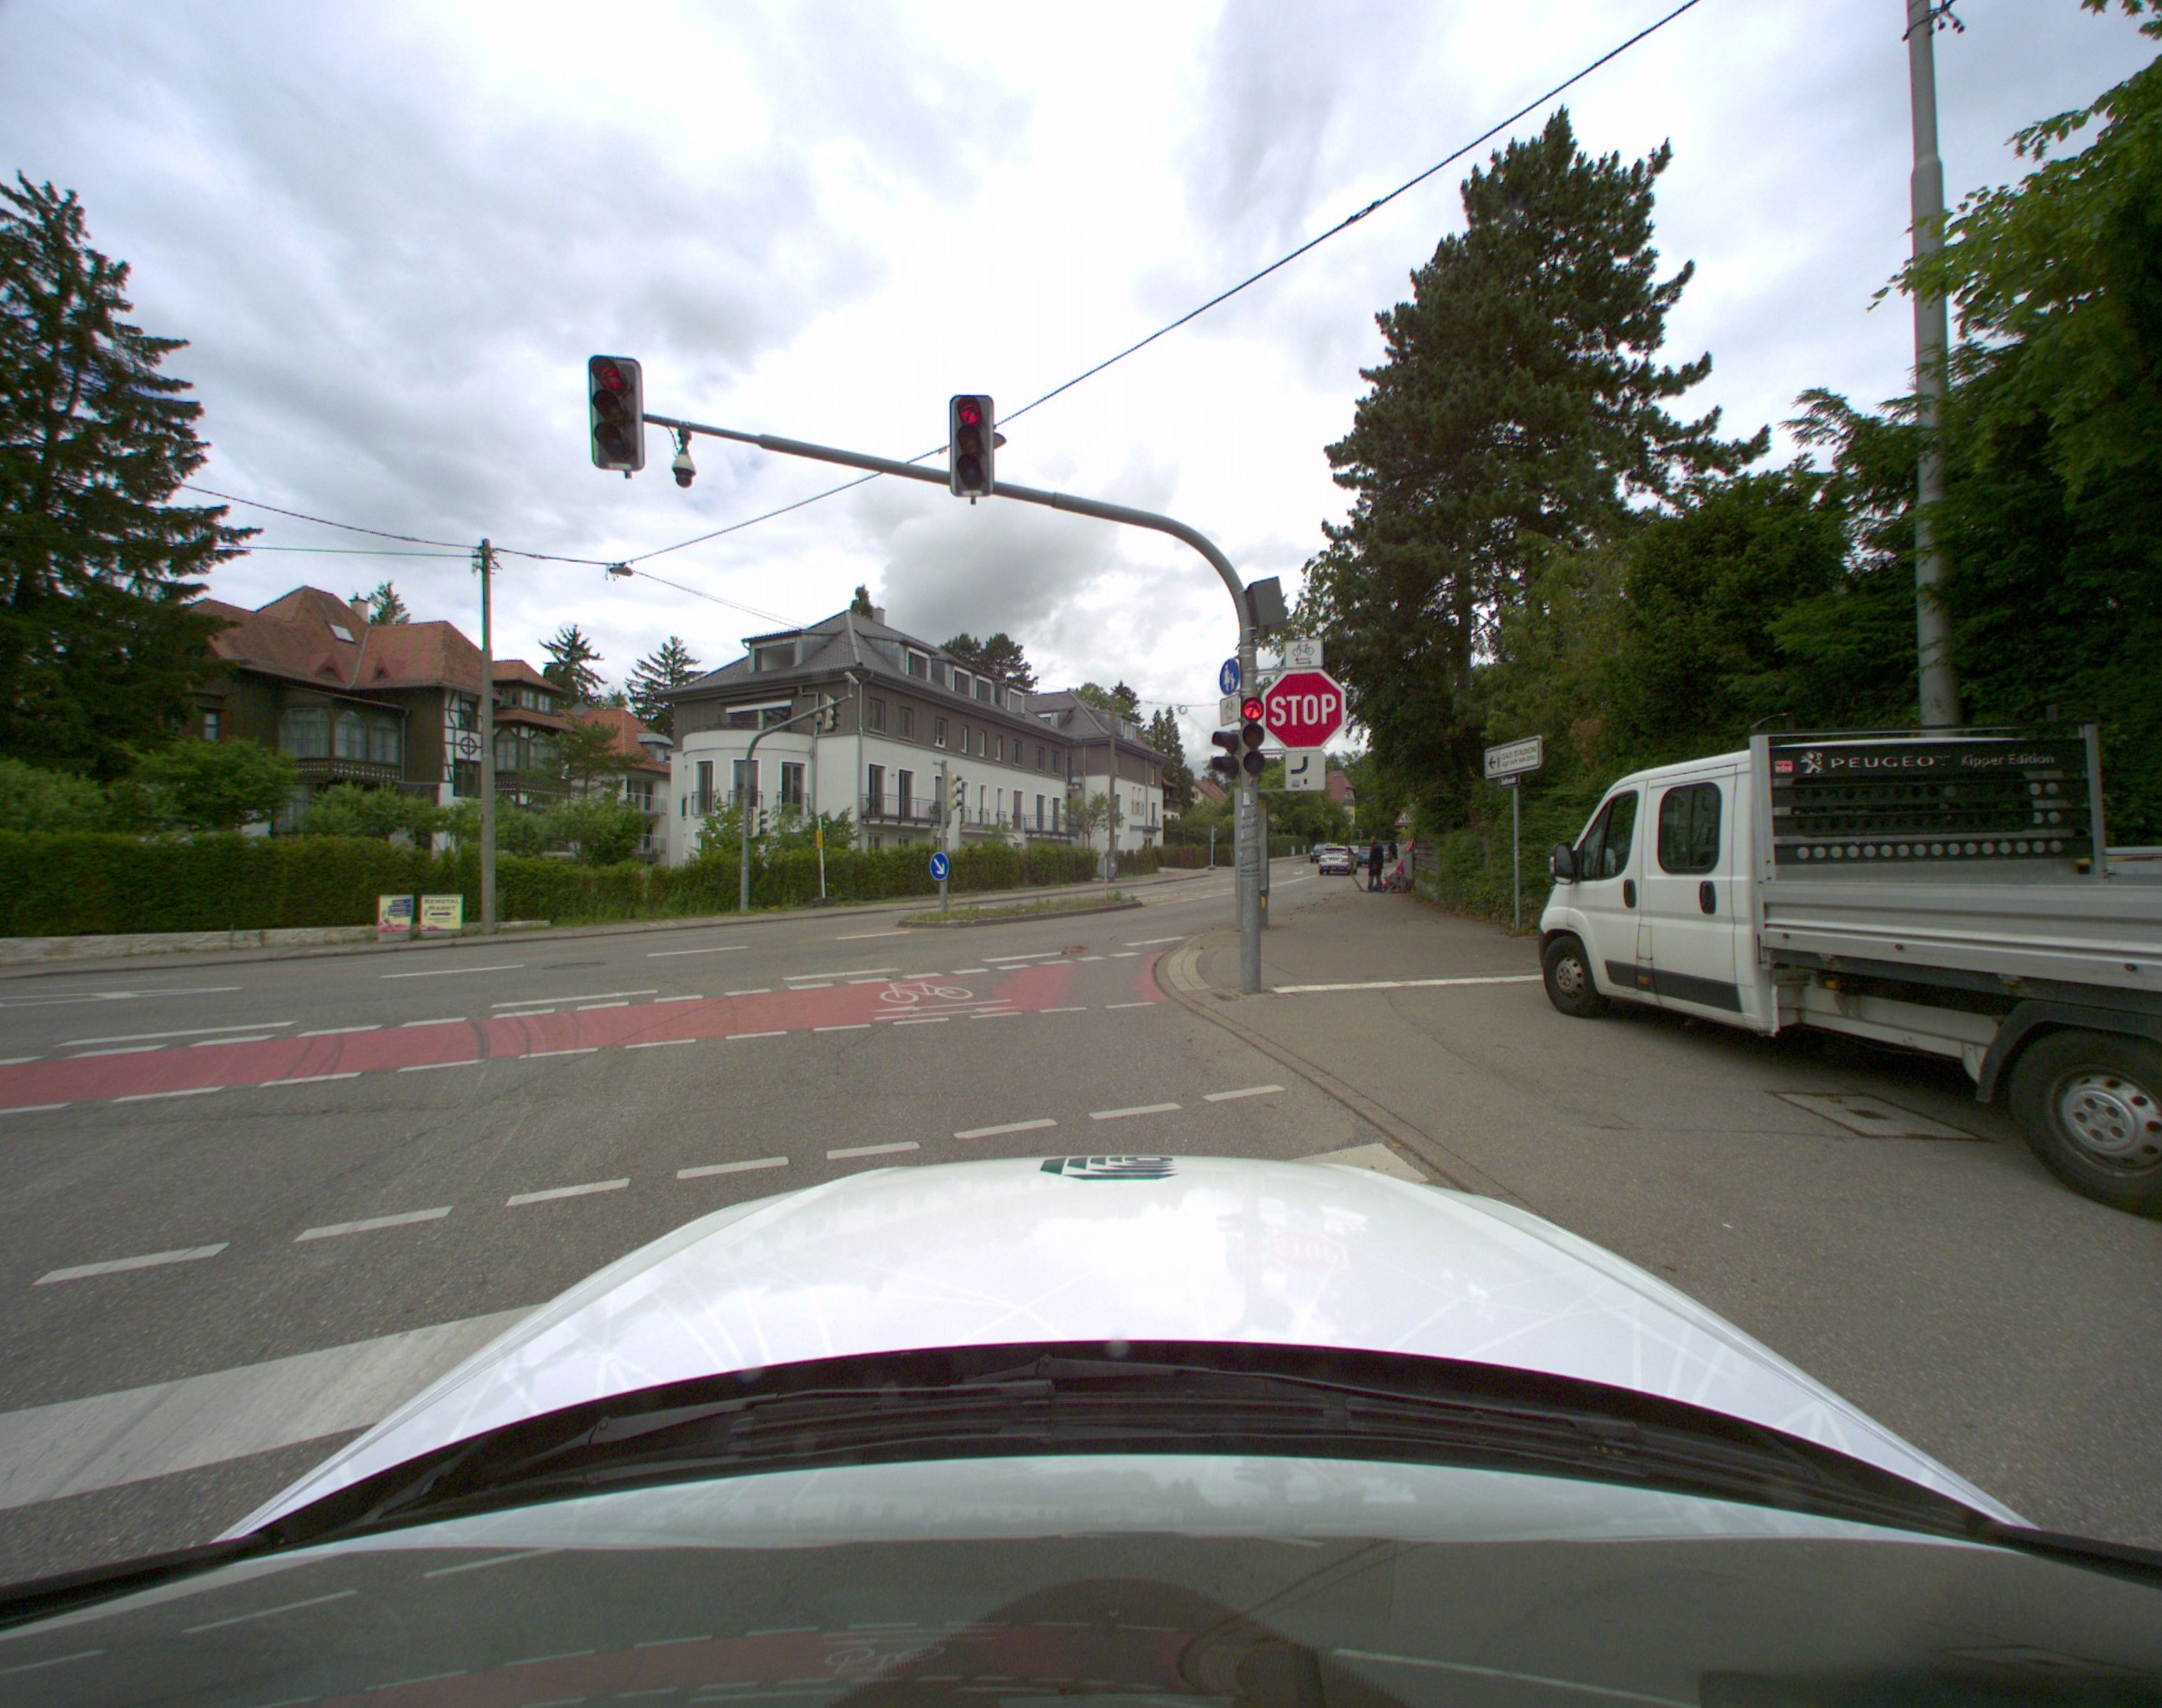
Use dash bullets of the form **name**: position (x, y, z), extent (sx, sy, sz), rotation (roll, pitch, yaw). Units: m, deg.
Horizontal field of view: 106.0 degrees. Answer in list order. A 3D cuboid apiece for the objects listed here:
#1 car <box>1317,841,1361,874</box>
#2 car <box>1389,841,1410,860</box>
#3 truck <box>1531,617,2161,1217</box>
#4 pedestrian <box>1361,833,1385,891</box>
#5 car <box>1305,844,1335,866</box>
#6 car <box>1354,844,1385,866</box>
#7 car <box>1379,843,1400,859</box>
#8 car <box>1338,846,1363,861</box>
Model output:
- **car**: position (14.892, 0.190, 46.882), extent (1.791, 1.753, 4.513), rotation (-2, 0, 25)
- **car**: position (34.418, -0.392, 88.025), extent (1.902, 1.894, 4.935), rotation (1, 1, 23)
- **truck**: position (5.268, 0.235, 4.950), extent (2.198, 2.243, 5.729), rotation (0, 0, 4)
- **pedestrian**: position (9.790, 0.270, 27.341), extent (0.594, 1.907, 0.559), rotation (0, -1, 2)
- **car**: position (21.755, 0.067, 74.046), extent (1.895, 1.881, 5.170), rotation (-2, -1, 24)
- **car**: position (21.559, 0.081, 60.817), extent (1.783, 1.527, 4.770), rotation (-2, 0, 24)
- **car**: position (28.472, -0.294, 75.063), extent (1.679, 1.430, 3.768), rotation (-2, 0, 22)
- **car**: position (27.395, -0.067, 82.731), extent (1.921, 1.403, 4.770), rotation (-1, 0, 25)
